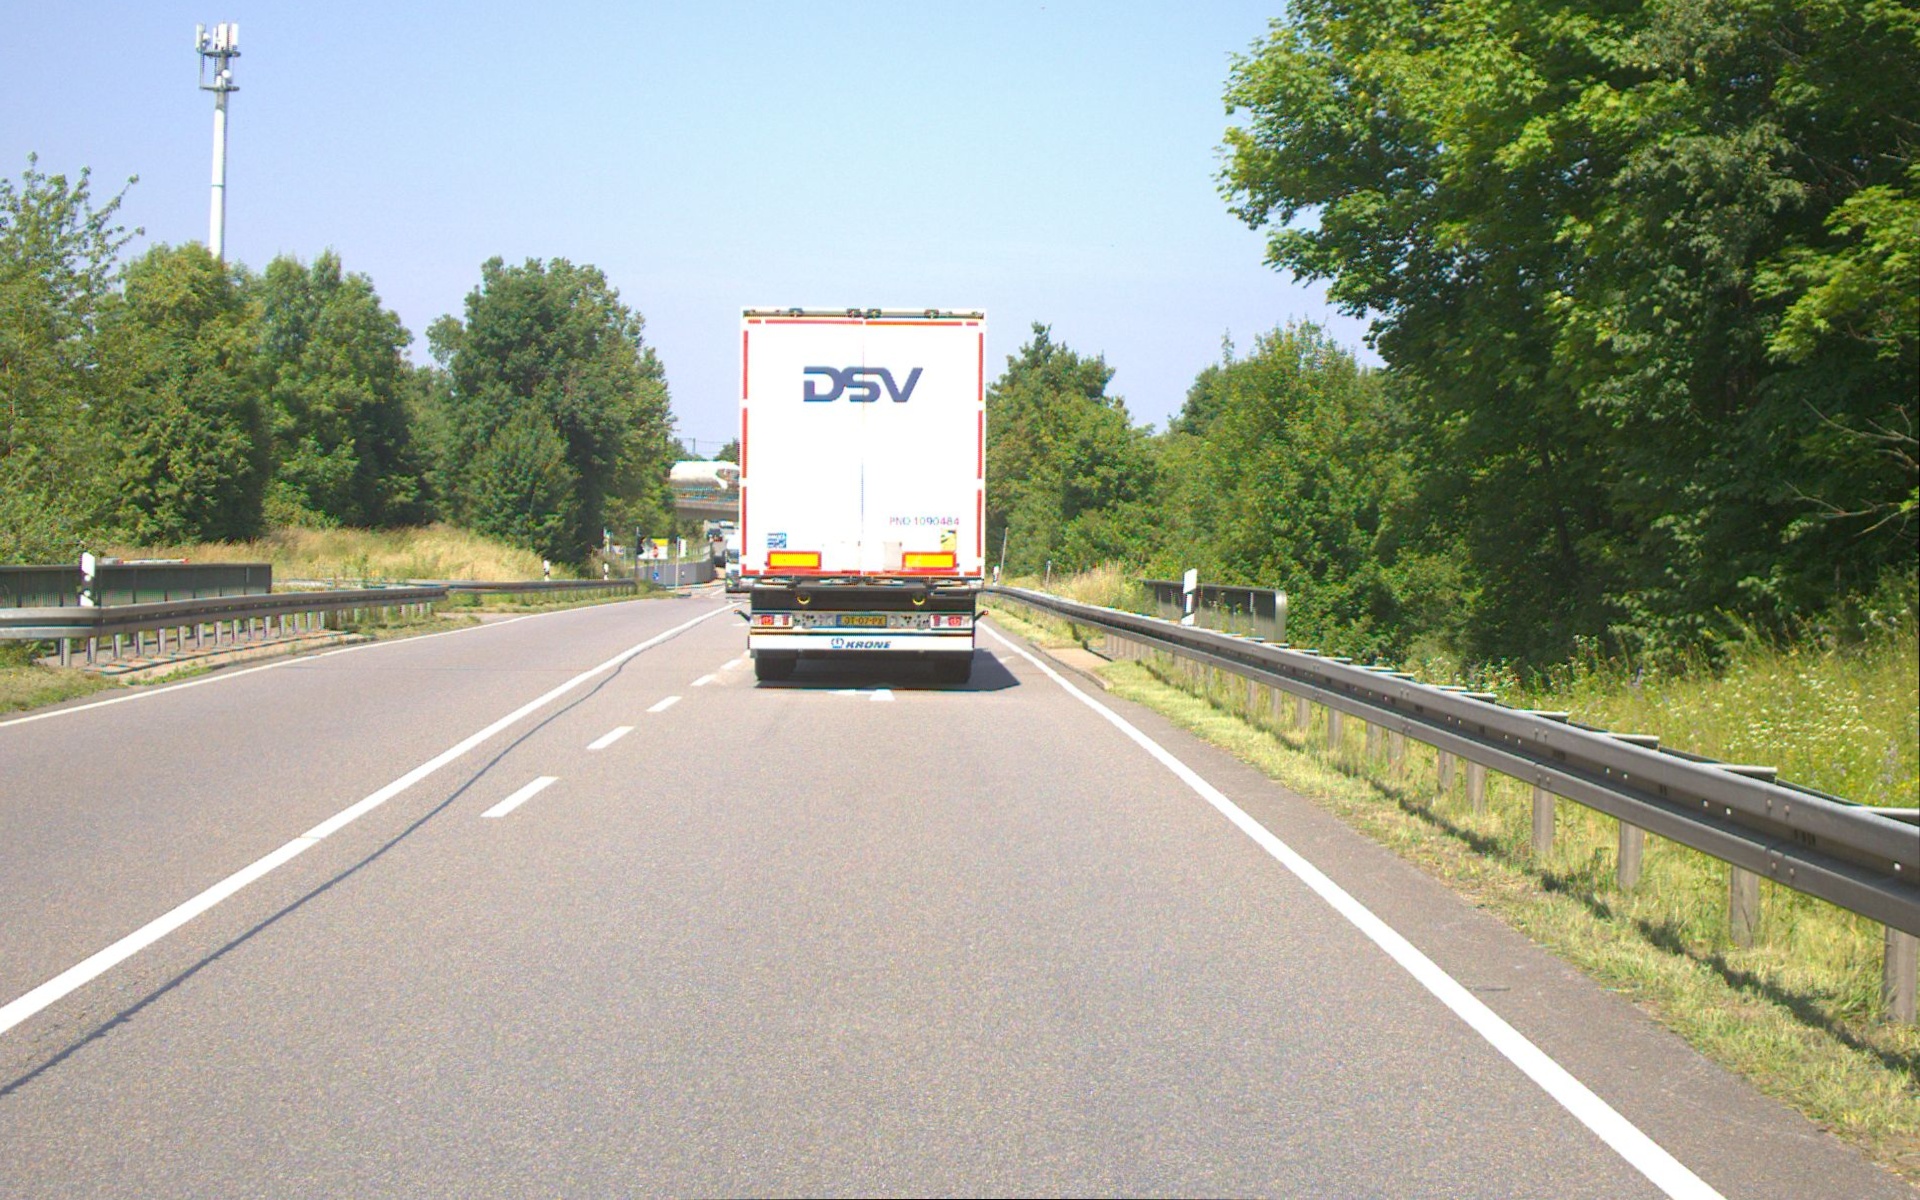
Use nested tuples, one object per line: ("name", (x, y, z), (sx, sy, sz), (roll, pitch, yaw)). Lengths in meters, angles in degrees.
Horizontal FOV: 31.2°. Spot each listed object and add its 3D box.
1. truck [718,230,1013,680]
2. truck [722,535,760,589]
("truck", (-1.047, -1.489, 39.915), (2.950, 4.553, 9.863), (1, 0, -1))
("truck", (-15.562, -2.750, 244.994), (2.353, 3.737, 12.627), (0, 1, -2))
